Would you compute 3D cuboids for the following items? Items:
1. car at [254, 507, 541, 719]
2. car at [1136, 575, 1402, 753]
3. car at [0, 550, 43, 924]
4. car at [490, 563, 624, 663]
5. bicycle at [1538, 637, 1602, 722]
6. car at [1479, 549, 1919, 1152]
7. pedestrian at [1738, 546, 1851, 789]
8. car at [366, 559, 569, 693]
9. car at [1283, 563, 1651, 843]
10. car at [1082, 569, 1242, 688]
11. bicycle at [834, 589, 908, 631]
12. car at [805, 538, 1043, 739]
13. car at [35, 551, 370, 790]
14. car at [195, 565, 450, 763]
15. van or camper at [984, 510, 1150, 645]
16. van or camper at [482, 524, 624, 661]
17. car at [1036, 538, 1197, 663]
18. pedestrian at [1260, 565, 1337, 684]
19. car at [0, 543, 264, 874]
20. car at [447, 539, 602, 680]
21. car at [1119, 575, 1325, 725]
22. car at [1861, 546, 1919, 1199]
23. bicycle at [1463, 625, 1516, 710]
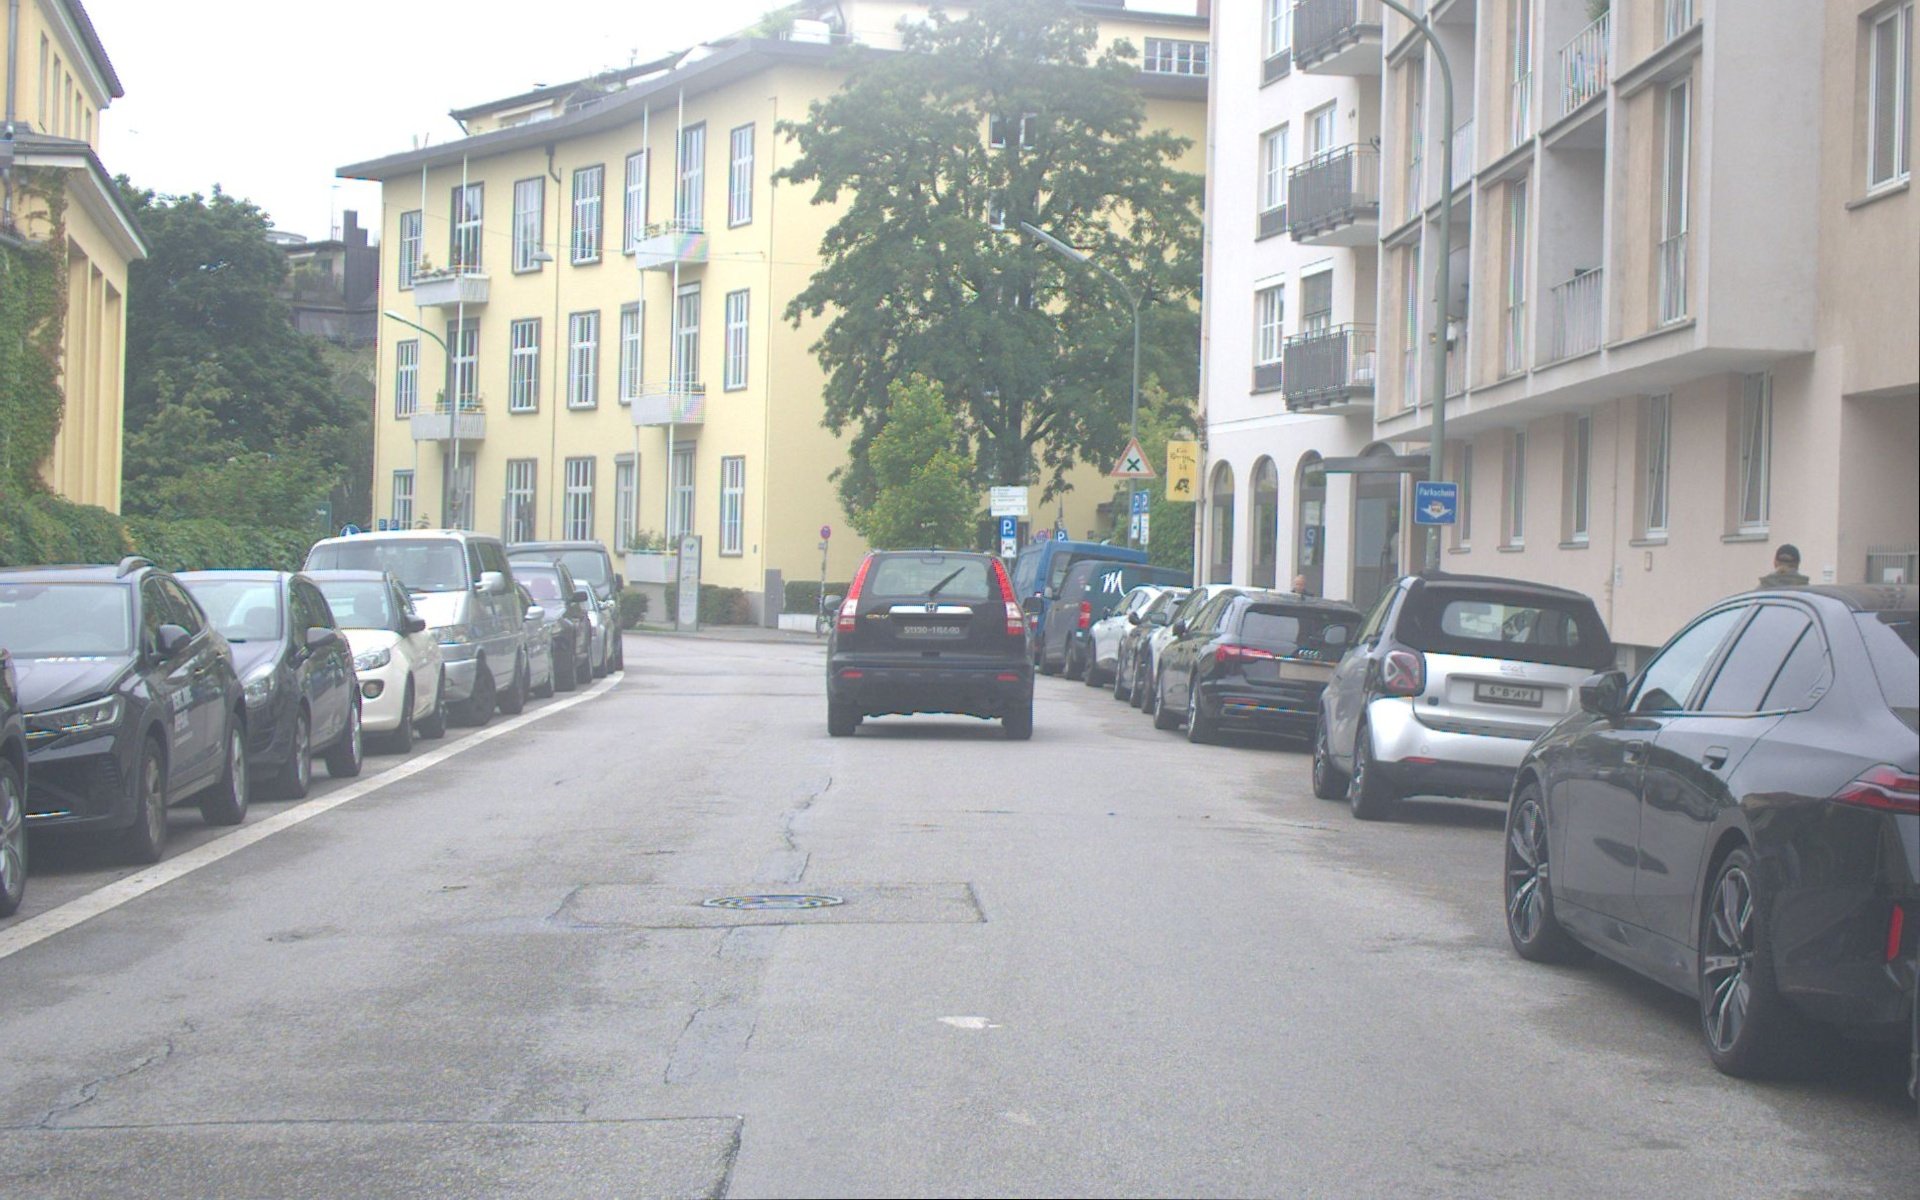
[{"bbox_3d":[-5.371,0.097,33.438,1.993,1.869,4.758,-1,0,0],"label":"car"},{"bbox_3d":[2.835,0.548,32.481,1.796,1.415,4.483,4,1,-3],"label":"car"},{"bbox_3d":[-4.760,0.584,12.800,1.781,1.532,4.196,0,1,-3],"label":"car"},{"bbox_3d":[-5.812,0.163,49.913,1.619,1.373,4.072,0,1,-2],"label":"car"},{"bbox_3d":[7.019,0.903,39.581,0.444,0.932,1.401,1,0,-1],"label":"bicycle"},{"bbox_3d":[3.105,0.665,11.293,1.856,1.539,4.816,4,1,-2],"label":"car"},{"bbox_3d":[5.727,0.454,23.615,0.596,1.648,0.630,0,1,-1],"label":"pedestrian"},{"bbox_3d":[-5.539,0.250,39.112,1.701,1.418,4.425,0,1,0],"label":"car"},{"bbox_3d":[3.217,0.598,22.518,1.671,1.529,3.881,5,1,-1],"label":"car"},{"bbox_3d":[2.795,0.363,48.424,1.739,1.532,4.274,0,1,-4],"label":"car"},{"bbox_3d":[-2.518,0.283,97.221,2.215,1.113,0.609,2,0,40],"label":"bicycle"},{"bbox_3d":[-0.250,0.296,31.323,1.995,1.688,4.380,0,1,2],"label":"car"},{"bbox_3d":[-4.966,0.407,22.980,1.578,1.450,3.905,0,1,-3],"label":"car"},{"bbox_3d":[-5.193,0.474,28.400,1.578,1.487,3.731,-1,1,-3],"label":"car"},{"bbox_3d":[1.795,-0.405,59.719,2.060,2.223,5.439,0,1,-7],"label":"van or camper"},{"bbox_3d":[-6.405,-0.149,54.514,1.960,2.058,4.754,0,1,-3],"label":"van or camper"},{"bbox_3d":[2.394,-0.036,53.920,1.964,1.810,4.936,1,1,-4],"label":"car"},{"bbox_3d":[4.881,0.341,49.651,0.898,1.682,1.320,1,0,-3],"label":"pedestrian"},{"bbox_3d":[-4.874,0.473,18.097,1.781,1.532,4.149,1,1,-3],"label":"car"},{"bbox_3d":[-5.585,0.083,44.492,1.619,1.724,4.425,0,1,-2],"label":"car"},{"bbox_3d":[2.859,0.514,38.341,1.739,1.494,4.220,2,1,-3],"label":"car"},{"bbox_3d":[3.165,0.744,6.307,1.778,1.579,4.272,4,1,0],"label":"car"},{"bbox_3d":[6.565,0.831,42.653,0.390,1.020,1.401,1,0,-1],"label":"bicycle"}]
